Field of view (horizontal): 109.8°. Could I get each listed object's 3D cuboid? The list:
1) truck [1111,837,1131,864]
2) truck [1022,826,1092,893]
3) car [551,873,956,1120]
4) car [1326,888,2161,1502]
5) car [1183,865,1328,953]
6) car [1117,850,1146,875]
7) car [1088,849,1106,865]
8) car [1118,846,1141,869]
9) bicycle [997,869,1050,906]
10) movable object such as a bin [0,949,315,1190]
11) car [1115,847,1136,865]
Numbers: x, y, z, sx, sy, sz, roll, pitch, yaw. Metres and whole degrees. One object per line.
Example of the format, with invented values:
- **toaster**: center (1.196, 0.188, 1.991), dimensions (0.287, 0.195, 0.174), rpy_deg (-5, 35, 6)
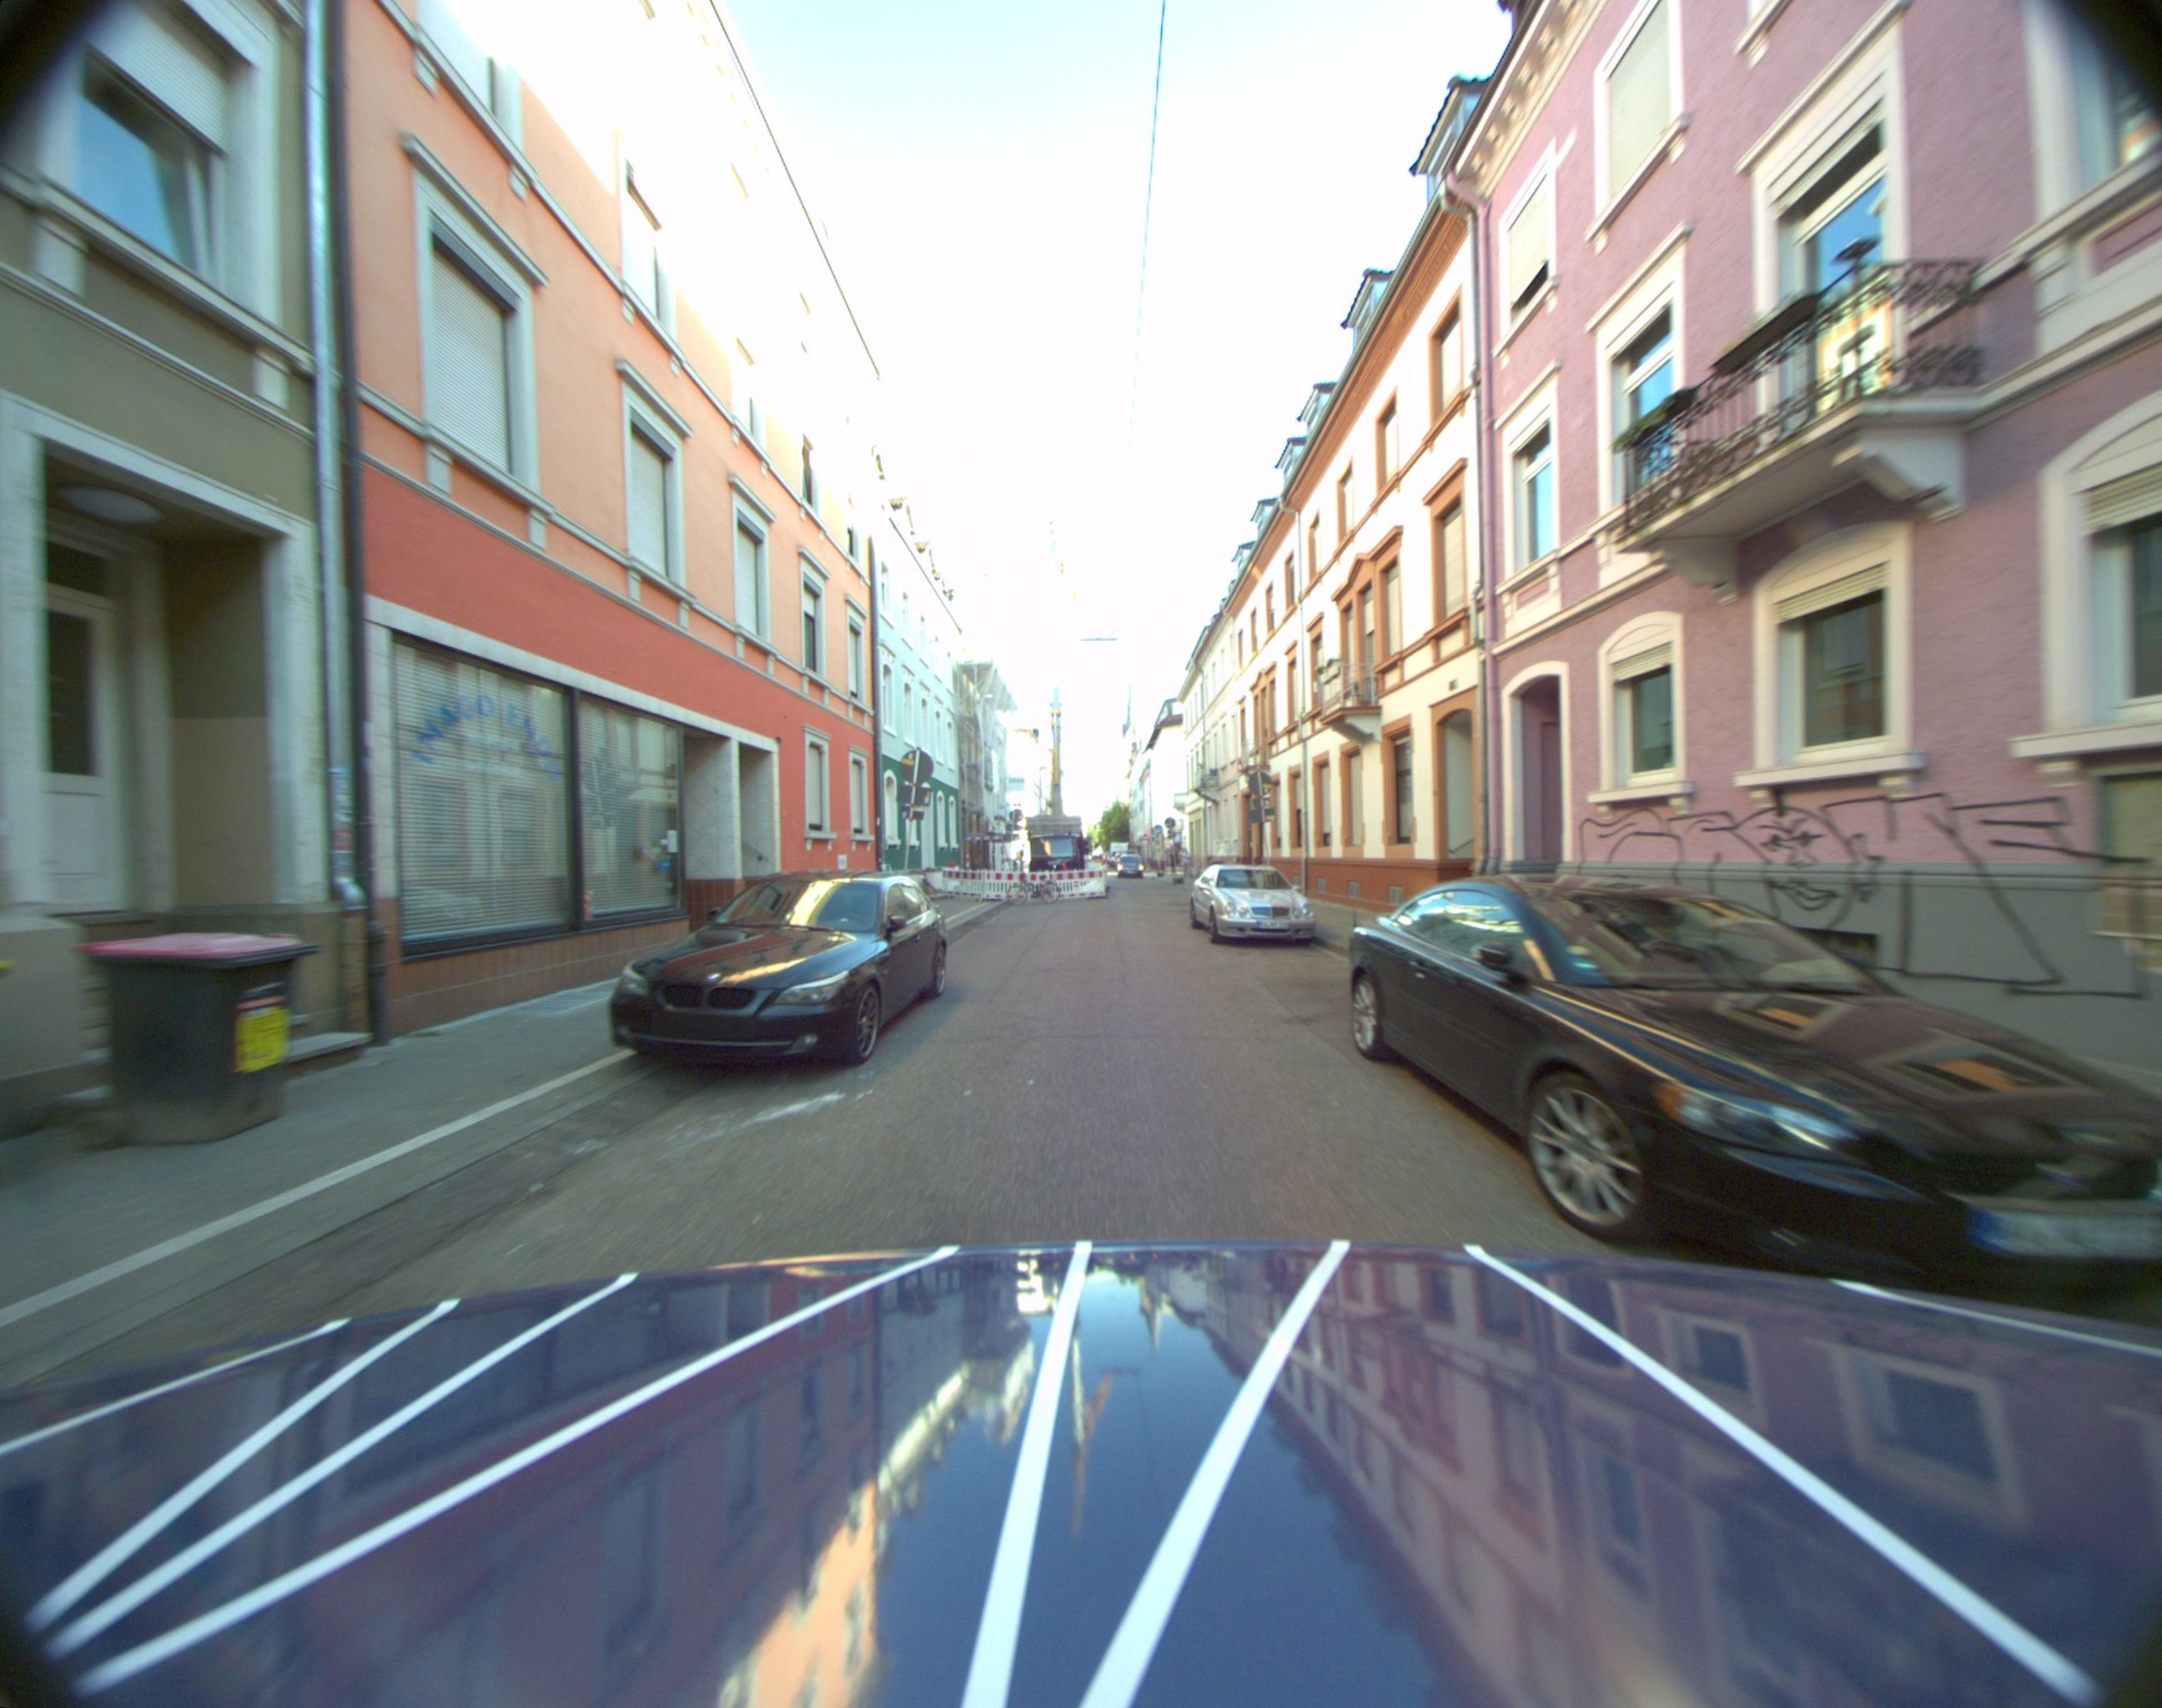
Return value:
- **truck**: center (5.105, -0.461, 98.191), dimensions (2.524, 3.271, 6.643), rpy_deg (-1, 0, 2)
- **truck**: center (-0.962, 0.225, 36.107), dimensions (2.819, 2.735, 7.678), rpy_deg (-3, 0, 1)
- **car**: center (-2.506, 0.994, 7.192), dimensions (1.831, 1.474, 4.464), rpy_deg (0, 0, 1)
- **car**: center (2.792, 0.992, 4.131), dimensions (1.730, 1.383, 4.303), rpy_deg (0, 0, 3)
- **car**: center (3.124, 0.919, 14.501), dimensions (1.771, 1.335, 4.380), rpy_deg (0, 0, 0)
- **car**: center (3.505, 0.531, 52.926), dimensions (1.832, 1.651, 4.213), rpy_deg (0, 0, 1)
- **car**: center (1.845, 0.346, 88.836), dimensions (1.998, 1.749, 4.255), rpy_deg (-3, 0, 1)
- **car**: center (4.433, 0.299, 69.558), dimensions (1.998, 2.002, 4.258), rpy_deg (0, 0, 2)
- **bicycle**: center (-1.948, 1.130, 25.776), dimensions (1.712, 1.130, 0.470), rpy_deg (-3, 1, -10)
- **movable object such as a bin**: center (-4.913, 1.098, 4.086), dimensions (0.893, 1.102, 0.641), rpy_deg (1, 0, -9)
- **car**: center (4.875, 0.188, 84.077), dimensions (1.998, 1.820, 4.379), rpy_deg (-3, 0, 1)
